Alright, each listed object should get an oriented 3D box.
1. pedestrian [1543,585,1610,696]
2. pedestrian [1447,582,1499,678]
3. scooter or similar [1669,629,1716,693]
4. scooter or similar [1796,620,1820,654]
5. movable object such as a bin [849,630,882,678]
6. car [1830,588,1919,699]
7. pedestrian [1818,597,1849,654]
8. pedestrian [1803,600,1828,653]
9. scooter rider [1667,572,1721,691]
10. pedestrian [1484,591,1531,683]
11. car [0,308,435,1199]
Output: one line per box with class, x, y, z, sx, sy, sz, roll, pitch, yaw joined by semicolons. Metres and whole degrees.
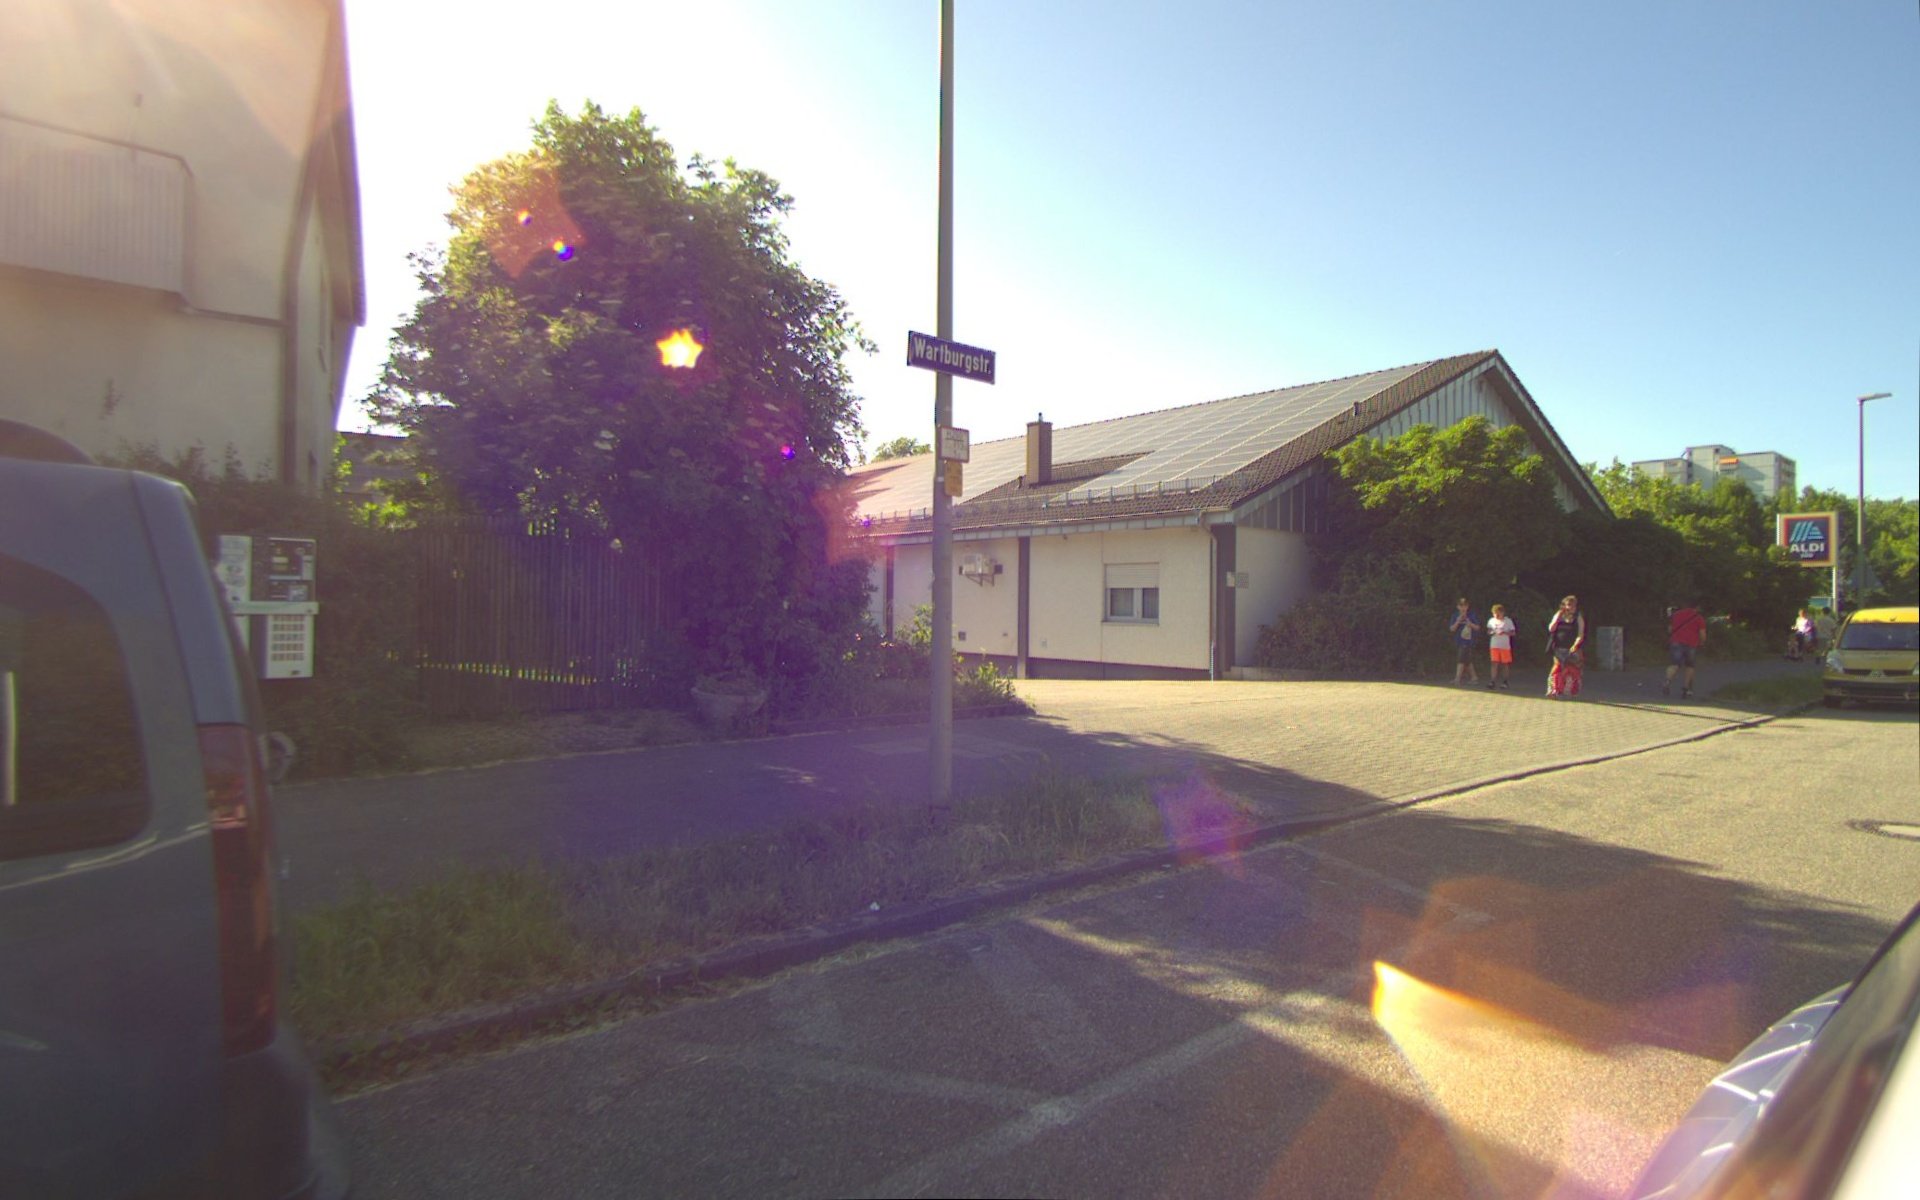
pedestrian;10.044;0.637;16.489;0.881;1.709;0.634;1;3;-42
pedestrian;9.345;0.532;18.433;0.632;1.684;0.583;1;3;-42
scooter or similar;12.932;1.060;17.864;0.456;1.043;1.032;5;3;44
scooter or similar;28.480;1.230;33.970;0.826;1.092;0.478;1;-1;-40
movable object such as a bin;-2.830;1.603;30.219;0.743;1.373;0.660;1;-1;-40
car;16.917;0.721;17.956;3.910;1.799;1.620;0;-1;-40
pedestrian;27.790;0.814;32.195;0.579;1.791;0.672;1;-1;-40
pedestrian;29.106;0.884;34.440;0.579;1.791;0.541;1;-1;-40
scooter rider;12.969;0.548;17.884;0.478;2.038;0.598;1;3;-45
pedestrian;9.594;0.640;17.733;0.654;1.551;0.447;1;3;-43
car;-3.207;0.550;1.020;4.479;1.872;1.860;0;-2;-40
